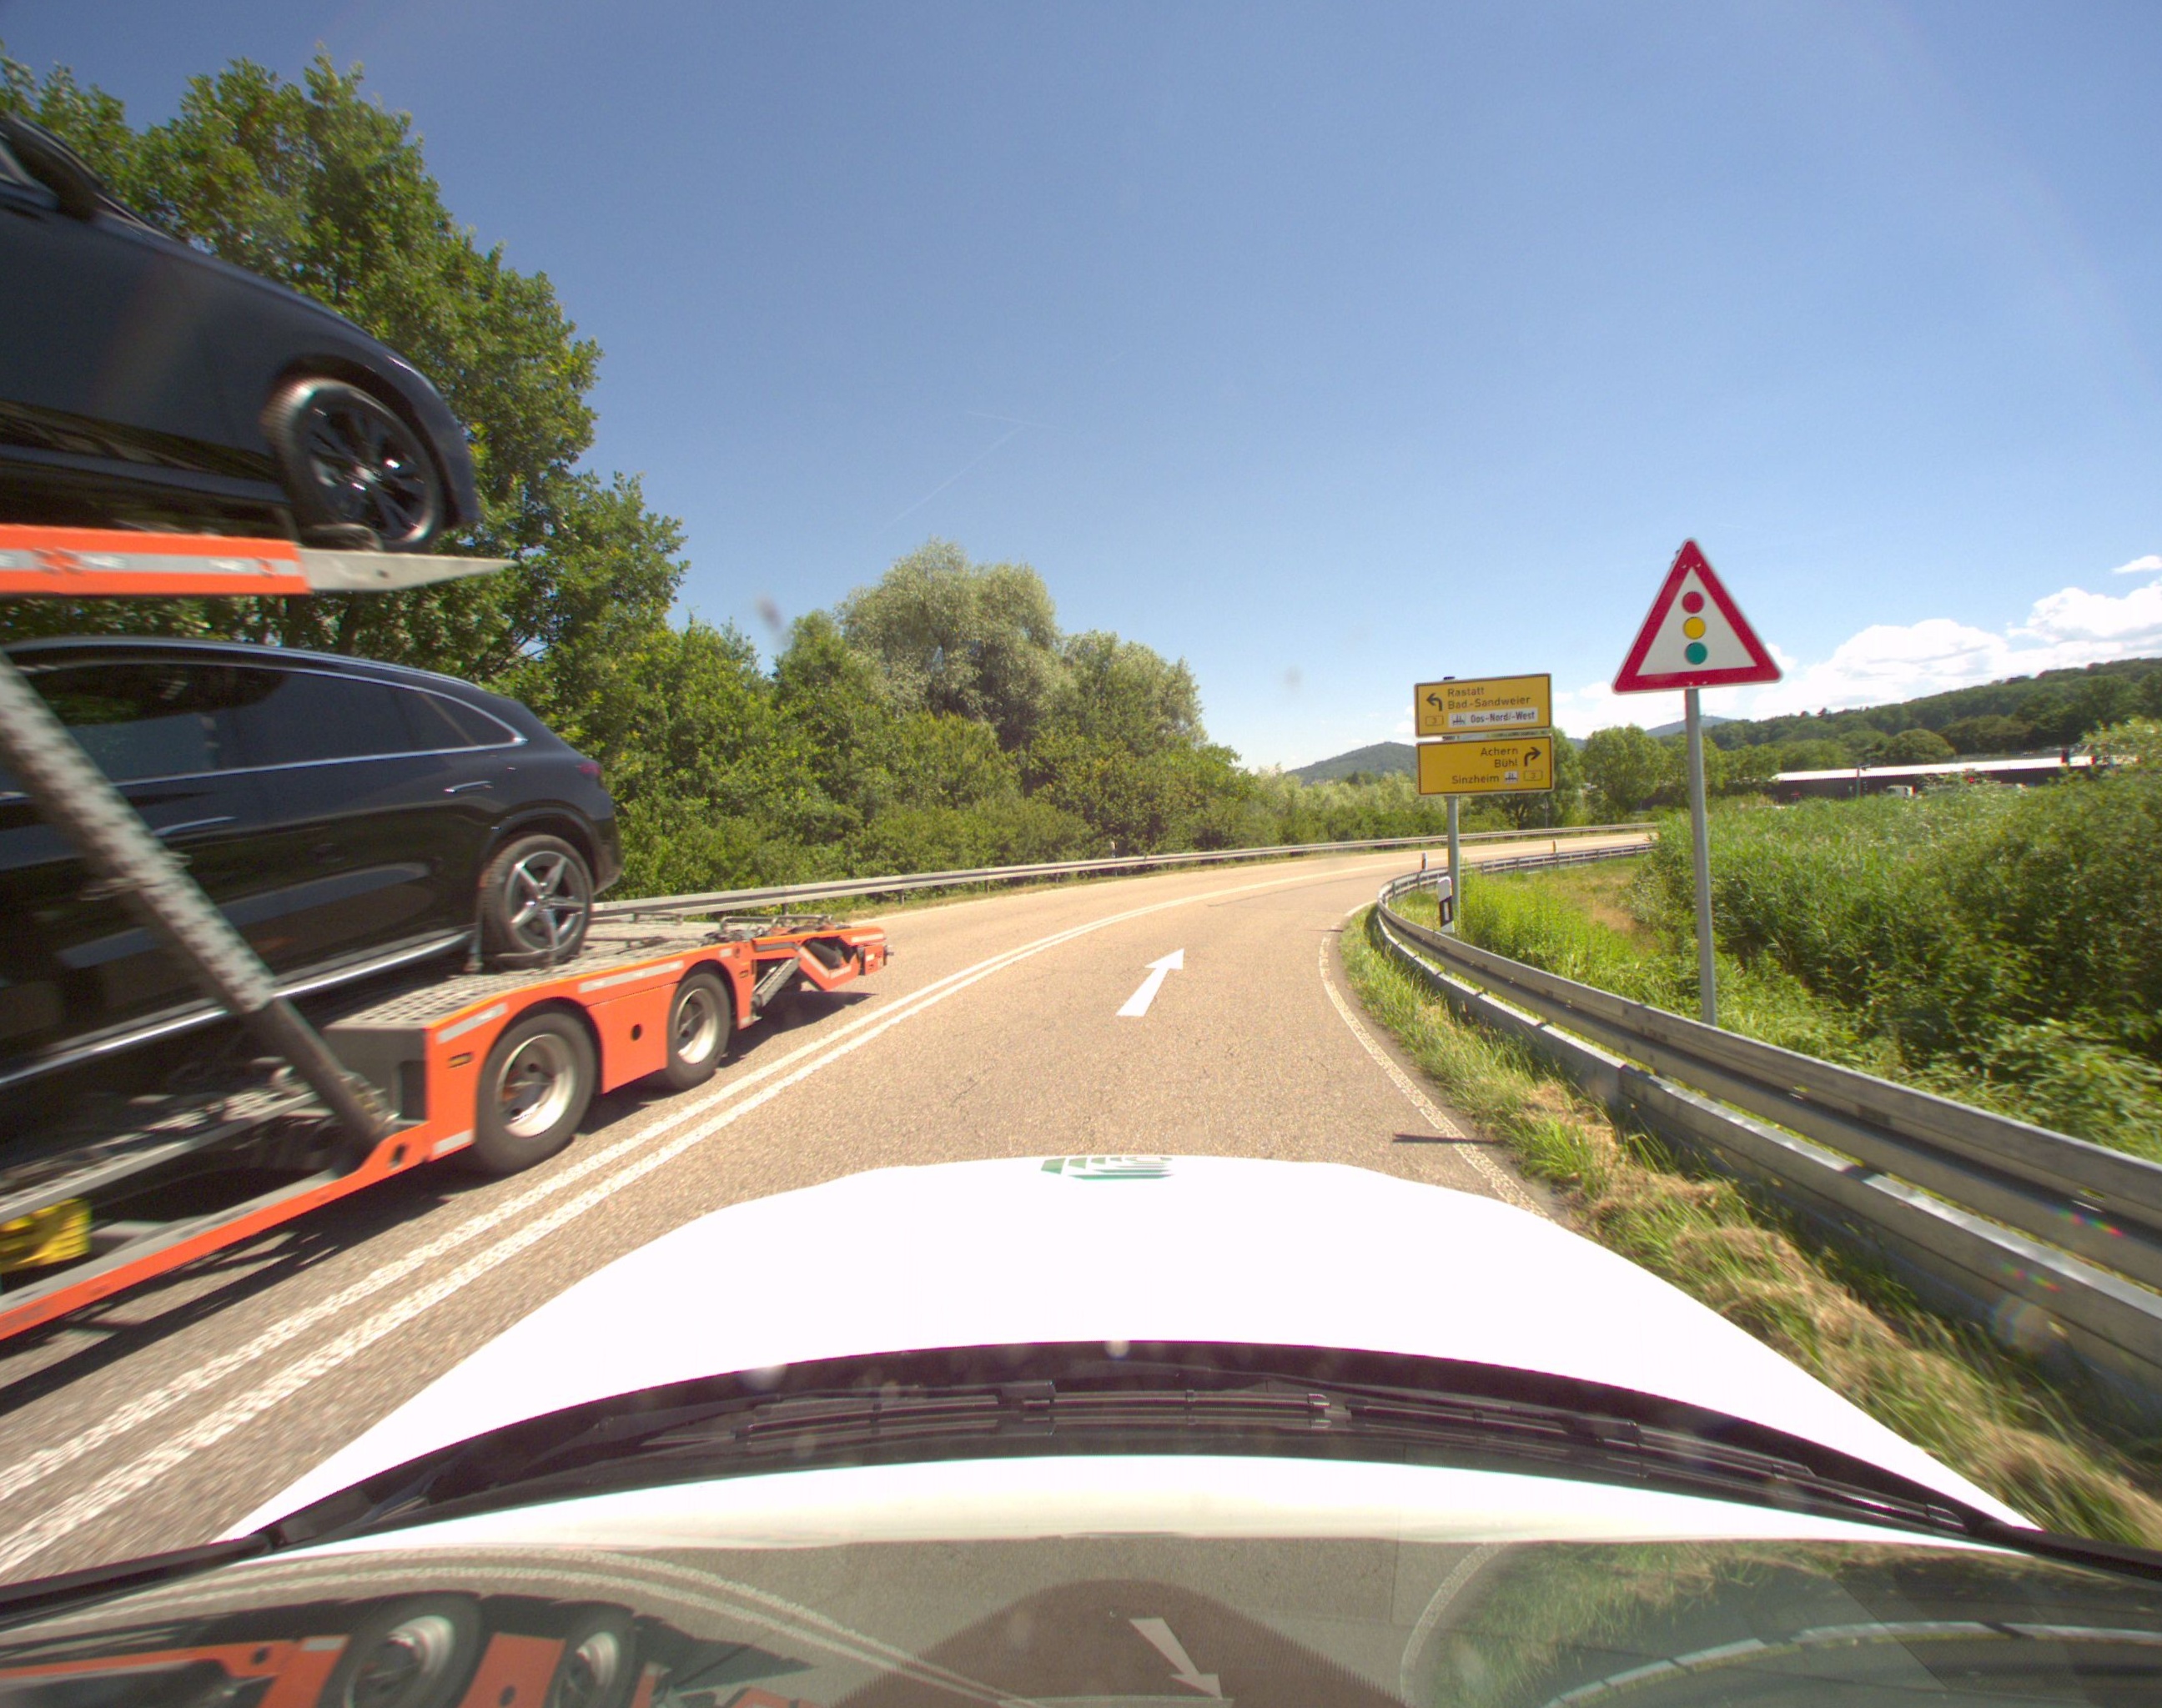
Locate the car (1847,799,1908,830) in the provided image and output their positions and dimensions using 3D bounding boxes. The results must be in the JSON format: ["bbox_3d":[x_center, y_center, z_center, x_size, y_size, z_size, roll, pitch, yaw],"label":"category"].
[{"bbox_3d":[53.728,-2.656,54.921,4.011,1.964,1.860,-3,3,-28],"label":"car"}]

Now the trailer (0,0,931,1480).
[{"bbox_3d":[-3.963,-0.456,1.998,2.777,3.898,14.017,-1,0,8],"label":"trailer"}]
